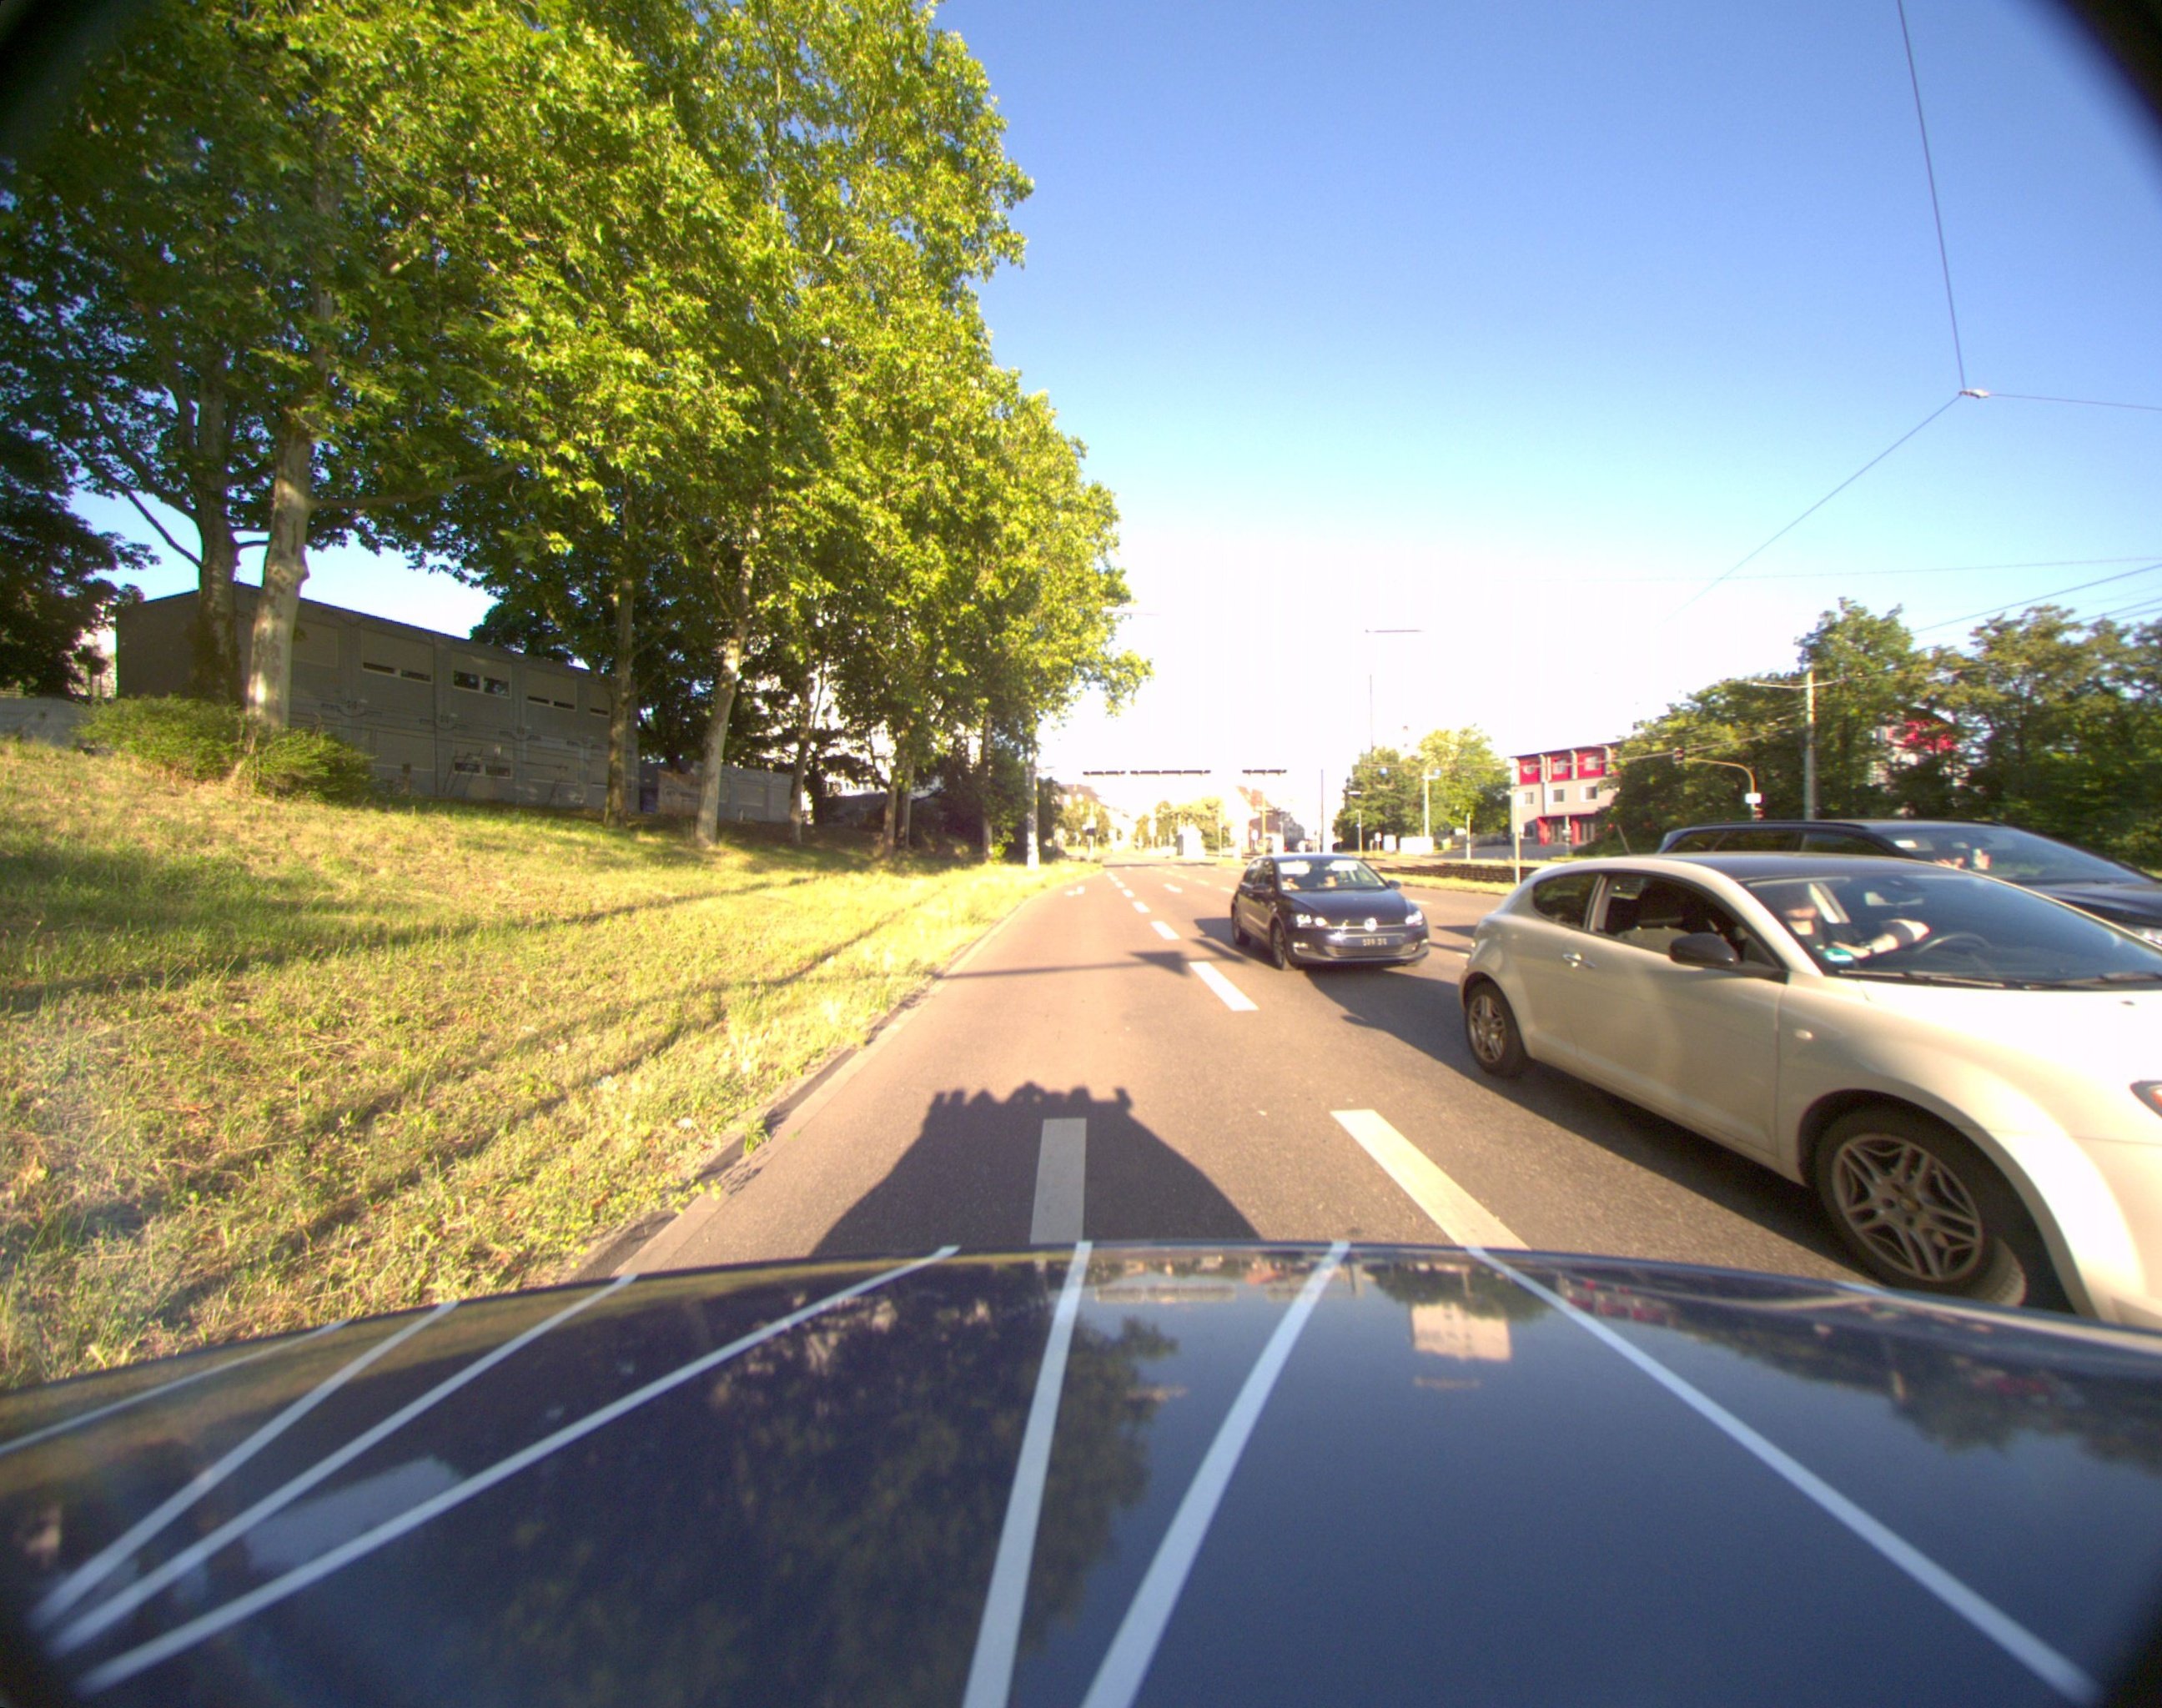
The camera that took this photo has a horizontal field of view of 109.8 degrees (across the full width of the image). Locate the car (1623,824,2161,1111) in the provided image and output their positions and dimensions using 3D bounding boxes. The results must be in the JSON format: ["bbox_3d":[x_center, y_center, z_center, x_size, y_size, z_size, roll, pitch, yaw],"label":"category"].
[{"bbox_3d":[7.230,0.611,6.581,1.920,1.639,4.602,-1,0,2],"label":"car"}]

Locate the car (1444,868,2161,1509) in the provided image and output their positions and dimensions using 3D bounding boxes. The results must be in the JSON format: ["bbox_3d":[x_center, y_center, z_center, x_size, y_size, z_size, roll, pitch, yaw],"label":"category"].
[{"bbox_3d":[3.424,0.846,3.413,1.665,1.422,3.923,-1,0,-1],"label":"car"}]

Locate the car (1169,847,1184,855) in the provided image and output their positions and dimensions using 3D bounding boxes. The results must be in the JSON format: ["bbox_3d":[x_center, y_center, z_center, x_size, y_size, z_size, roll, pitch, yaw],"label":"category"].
[{"bbox_3d":[21.756,-0.684,172.854,1.995,1.807,4.007,-2,1,31],"label":"car"}]

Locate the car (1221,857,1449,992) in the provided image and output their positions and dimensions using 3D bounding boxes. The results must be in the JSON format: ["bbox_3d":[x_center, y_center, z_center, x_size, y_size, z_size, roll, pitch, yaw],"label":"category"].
[{"bbox_3d":[3.204,0.792,10.458,1.782,1.422,3.923,-1,0,-1],"label":"car"}]
